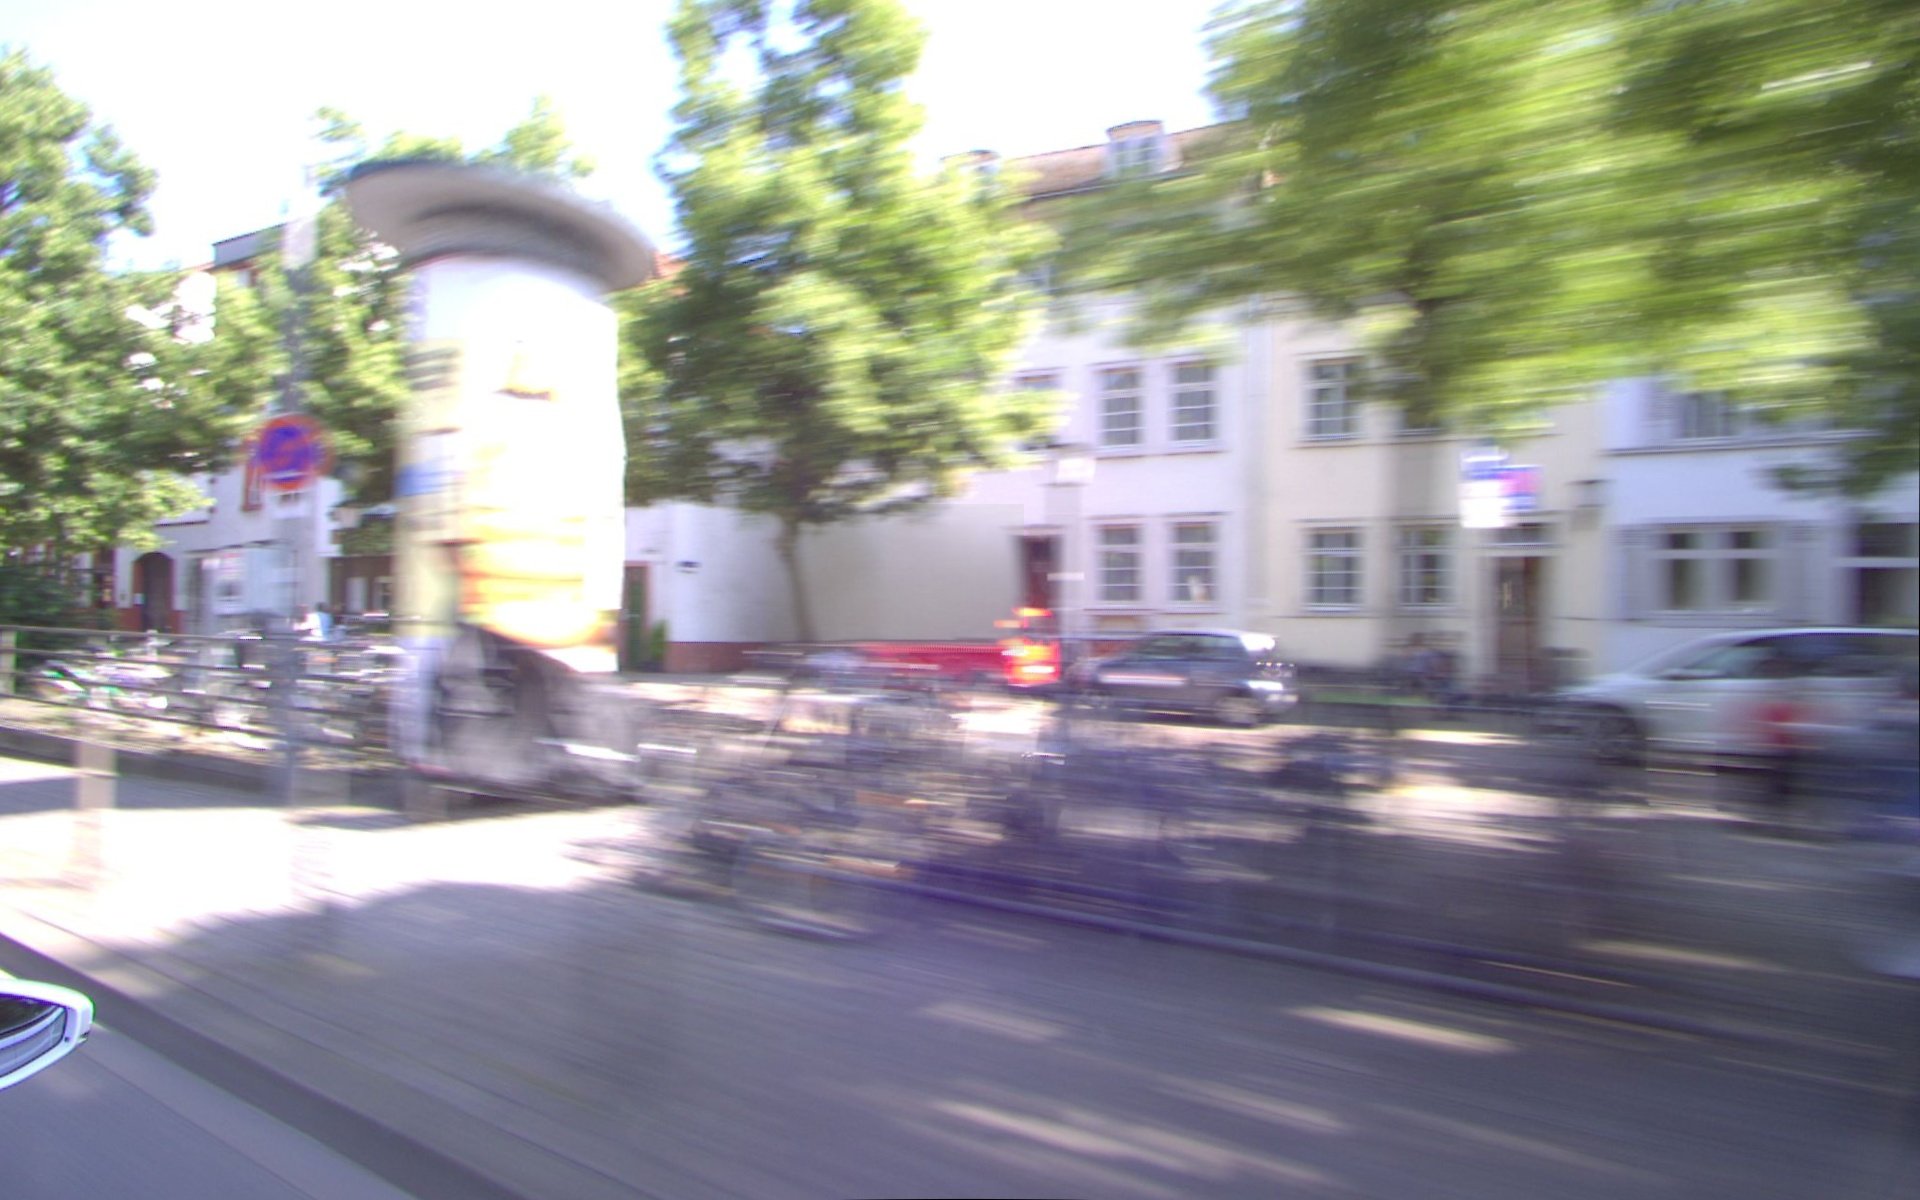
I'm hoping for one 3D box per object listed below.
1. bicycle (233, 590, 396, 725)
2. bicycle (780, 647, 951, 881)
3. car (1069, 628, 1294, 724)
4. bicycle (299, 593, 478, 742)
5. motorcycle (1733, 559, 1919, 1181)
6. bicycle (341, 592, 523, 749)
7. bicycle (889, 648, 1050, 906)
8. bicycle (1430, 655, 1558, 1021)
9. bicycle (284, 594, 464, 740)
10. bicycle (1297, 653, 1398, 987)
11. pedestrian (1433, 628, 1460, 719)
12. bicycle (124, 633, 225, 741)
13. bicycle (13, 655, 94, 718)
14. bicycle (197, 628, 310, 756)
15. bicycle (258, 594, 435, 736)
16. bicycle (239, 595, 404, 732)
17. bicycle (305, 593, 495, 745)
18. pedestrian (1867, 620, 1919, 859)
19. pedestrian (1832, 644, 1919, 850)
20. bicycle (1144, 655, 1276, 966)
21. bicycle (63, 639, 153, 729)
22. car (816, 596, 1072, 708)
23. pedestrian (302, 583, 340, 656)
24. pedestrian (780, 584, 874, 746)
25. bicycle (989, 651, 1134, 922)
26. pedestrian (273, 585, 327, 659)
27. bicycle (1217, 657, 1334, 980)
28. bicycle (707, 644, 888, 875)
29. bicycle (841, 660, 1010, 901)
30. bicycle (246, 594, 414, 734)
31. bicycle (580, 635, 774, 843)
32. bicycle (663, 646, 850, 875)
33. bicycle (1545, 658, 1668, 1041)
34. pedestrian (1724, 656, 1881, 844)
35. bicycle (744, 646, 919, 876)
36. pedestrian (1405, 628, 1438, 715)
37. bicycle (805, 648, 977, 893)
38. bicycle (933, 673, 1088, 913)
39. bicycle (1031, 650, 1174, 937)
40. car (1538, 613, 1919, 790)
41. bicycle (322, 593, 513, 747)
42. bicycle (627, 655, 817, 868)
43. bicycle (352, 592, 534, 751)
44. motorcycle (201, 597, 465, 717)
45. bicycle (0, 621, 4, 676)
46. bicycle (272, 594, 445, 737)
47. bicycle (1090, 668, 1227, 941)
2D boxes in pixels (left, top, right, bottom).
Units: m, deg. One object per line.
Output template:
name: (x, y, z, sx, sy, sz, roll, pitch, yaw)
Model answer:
bicycle: (-7.665, 0.669, 11.977, 0.265, 1.502, 1.705, 0, -1, 29)
bicycle: (-0.490, 0.856, 5.742, 0.247, 1.134, 1.484, 0, -1, 25)
car: (3.750, 1.227, 16.982, 3.418, 1.450, 1.674, 0, -2, 29)
bicycle: (-6.219, 0.715, 11.017, 0.265, 1.502, 1.824, 0, -1, 29)
motorcycle: (3.350, 0.650, 2.785, 2.259, 1.484, 0.763, 0, -1, -18)
bicycle: (-5.473, 0.709, 10.504, 0.265, 1.502, 1.824, 0, -1, 29)
bicycle: (0.099, 0.842, 5.290, 0.247, 1.134, 1.484, 0, -1, 25)
bicycle: (2.088, 0.813, 3.996, 0.372, 1.134, 1.484, 0, -1, 25)
bicycle: (-6.472, 0.717, 11.173, 0.281, 1.502, 1.828, 0, -1, 29)
bicycle: (1.691, 0.819, 4.288, 0.289, 1.134, 1.484, 0, -1, 25)
pedestrian: (8.601, 1.285, 17.707, 0.399, 1.583, 0.411, 1, 1, 23)
bicycle: (-7.965, 0.853, 10.141, 1.466, 1.023, 0.250, 0, -1, 30)
bicycle: (-10.627, 0.999, 11.725, 1.447, 0.672, 0.250, 0, -1, 30)
bicycle: (-6.641, 0.833, 9.397, 1.466, 1.134, 0.250, 0, -1, 30)
bicycle: (-6.972, 0.720, 11.481, 0.265, 1.502, 1.824, 0, -1, 29)
bicycle: (-7.451, 0.721, 11.770, 0.265, 1.502, 1.705, 0, -1, 29)
bicycle: (-5.992, 0.713, 10.840, 0.277, 1.502, 1.924, 0, -1, 29)
pedestrian: (6.521, 0.917, 6.603, 0.679, 1.536, 0.459, 1, -2, 23)
pedestrian: (6.724, 1.035, 7.177, 0.532, 1.399, 0.627, 1, -3, 23)
bicycle: (1.177, 0.845, 4.556, 0.289, 1.134, 1.484, 0, -1, 25)
bicycle: (-9.314, 0.897, 10.937, 1.466, 0.915, 0.250, 0, -1, 30)
car: (-0.343, 0.944, 19.433, 4.562, 1.926, 1.992, 0, -2, 29)
pedestrian: (-18.122, 0.555, 28.403, 0.634, 2.039, 0.634, 0, -2, 30)
pedestrian: (-1.433, 0.685, 10.848, 0.697, 1.674, 0.705, 0, -1, 36)
bicycle: (0.559, 0.846, 5.070, 0.247, 1.134, 1.484, 0, -1, 25)
pedestrian: (-17.741, 0.594, 26.914, 0.736, 1.939, 0.967, 0, -1, 32)
bicycle: (1.429, 0.847, 4.420, 0.289, 1.134, 1.484, 0, -1, 25)
bicycle: (-0.900, 0.858, 5.899, 0.247, 1.135, 1.483, 0, 0, 25)
bicycle: (-0.133, 0.882, 5.367, 0.247, 1.060, 1.484, 0, -1, 25)
bicycle: (-7.234, 0.719, 11.593, 0.265, 1.502, 1.721, 0, -1, 29)
bicycle: (-1.708, 0.798, 6.264, 0.247, 1.147, 1.484, 0, -2, 25)
bicycle: (-1.159, 0.879, 5.999, 0.247, 1.135, 1.483, 0, 1, 25)
bicycle: (2.425, 0.815, 3.826, 0.289, 1.134, 1.482, 0, -1, 29)
pedestrian: (6.280, 1.088, 7.507, 0.741, 1.297, 0.627, 1, -3, 23)
bicycle: (-0.693, 0.853, 5.822, 0.247, 1.134, 1.484, 0, -1, 25)
pedestrian: (8.621, 1.335, 18.724, 0.530, 1.581, 0.570, 1, -2, 23)
bicycle: (-0.326, 0.853, 5.519, 0.247, 1.134, 1.484, 0, -1, 25)
bicycle: (0.309, 0.909, 5.170, 0.247, 0.992, 1.484, 0, -1, 25)
bicycle: (0.731, 0.833, 4.836, 0.247, 1.134, 1.484, 0, -1, 25)
car: (9.240, 1.079, 11.484, 4.500, 1.751, 1.767, 0, -2, 31)
bicycle: (-5.727, 0.712, 10.703, 0.306, 1.502, 1.924, 0, -1, 29)
bicycle: (-1.405, 0.916, 6.161, 0.247, 1.134, 1.484, 0, -2, 25)
bicycle: (-5.272, 0.706, 10.342, 0.265, 1.502, 1.824, 0, -1, 29)
motorcycle: (-8.081, 0.712, 13.031, 2.811, 1.416, 0.819, 2, -2, -40)
bicycle: (-13.183, 0.776, 13.295, 1.466, 1.012, 0.250, 0, -3, 30)
bicycle: (-6.755, 0.718, 11.349, 0.265, 1.502, 1.773, 0, -1, 29)
bicycle: (0.998, 0.884, 4.823, 0.289, 1.045, 1.484, 0, -1, 25)
